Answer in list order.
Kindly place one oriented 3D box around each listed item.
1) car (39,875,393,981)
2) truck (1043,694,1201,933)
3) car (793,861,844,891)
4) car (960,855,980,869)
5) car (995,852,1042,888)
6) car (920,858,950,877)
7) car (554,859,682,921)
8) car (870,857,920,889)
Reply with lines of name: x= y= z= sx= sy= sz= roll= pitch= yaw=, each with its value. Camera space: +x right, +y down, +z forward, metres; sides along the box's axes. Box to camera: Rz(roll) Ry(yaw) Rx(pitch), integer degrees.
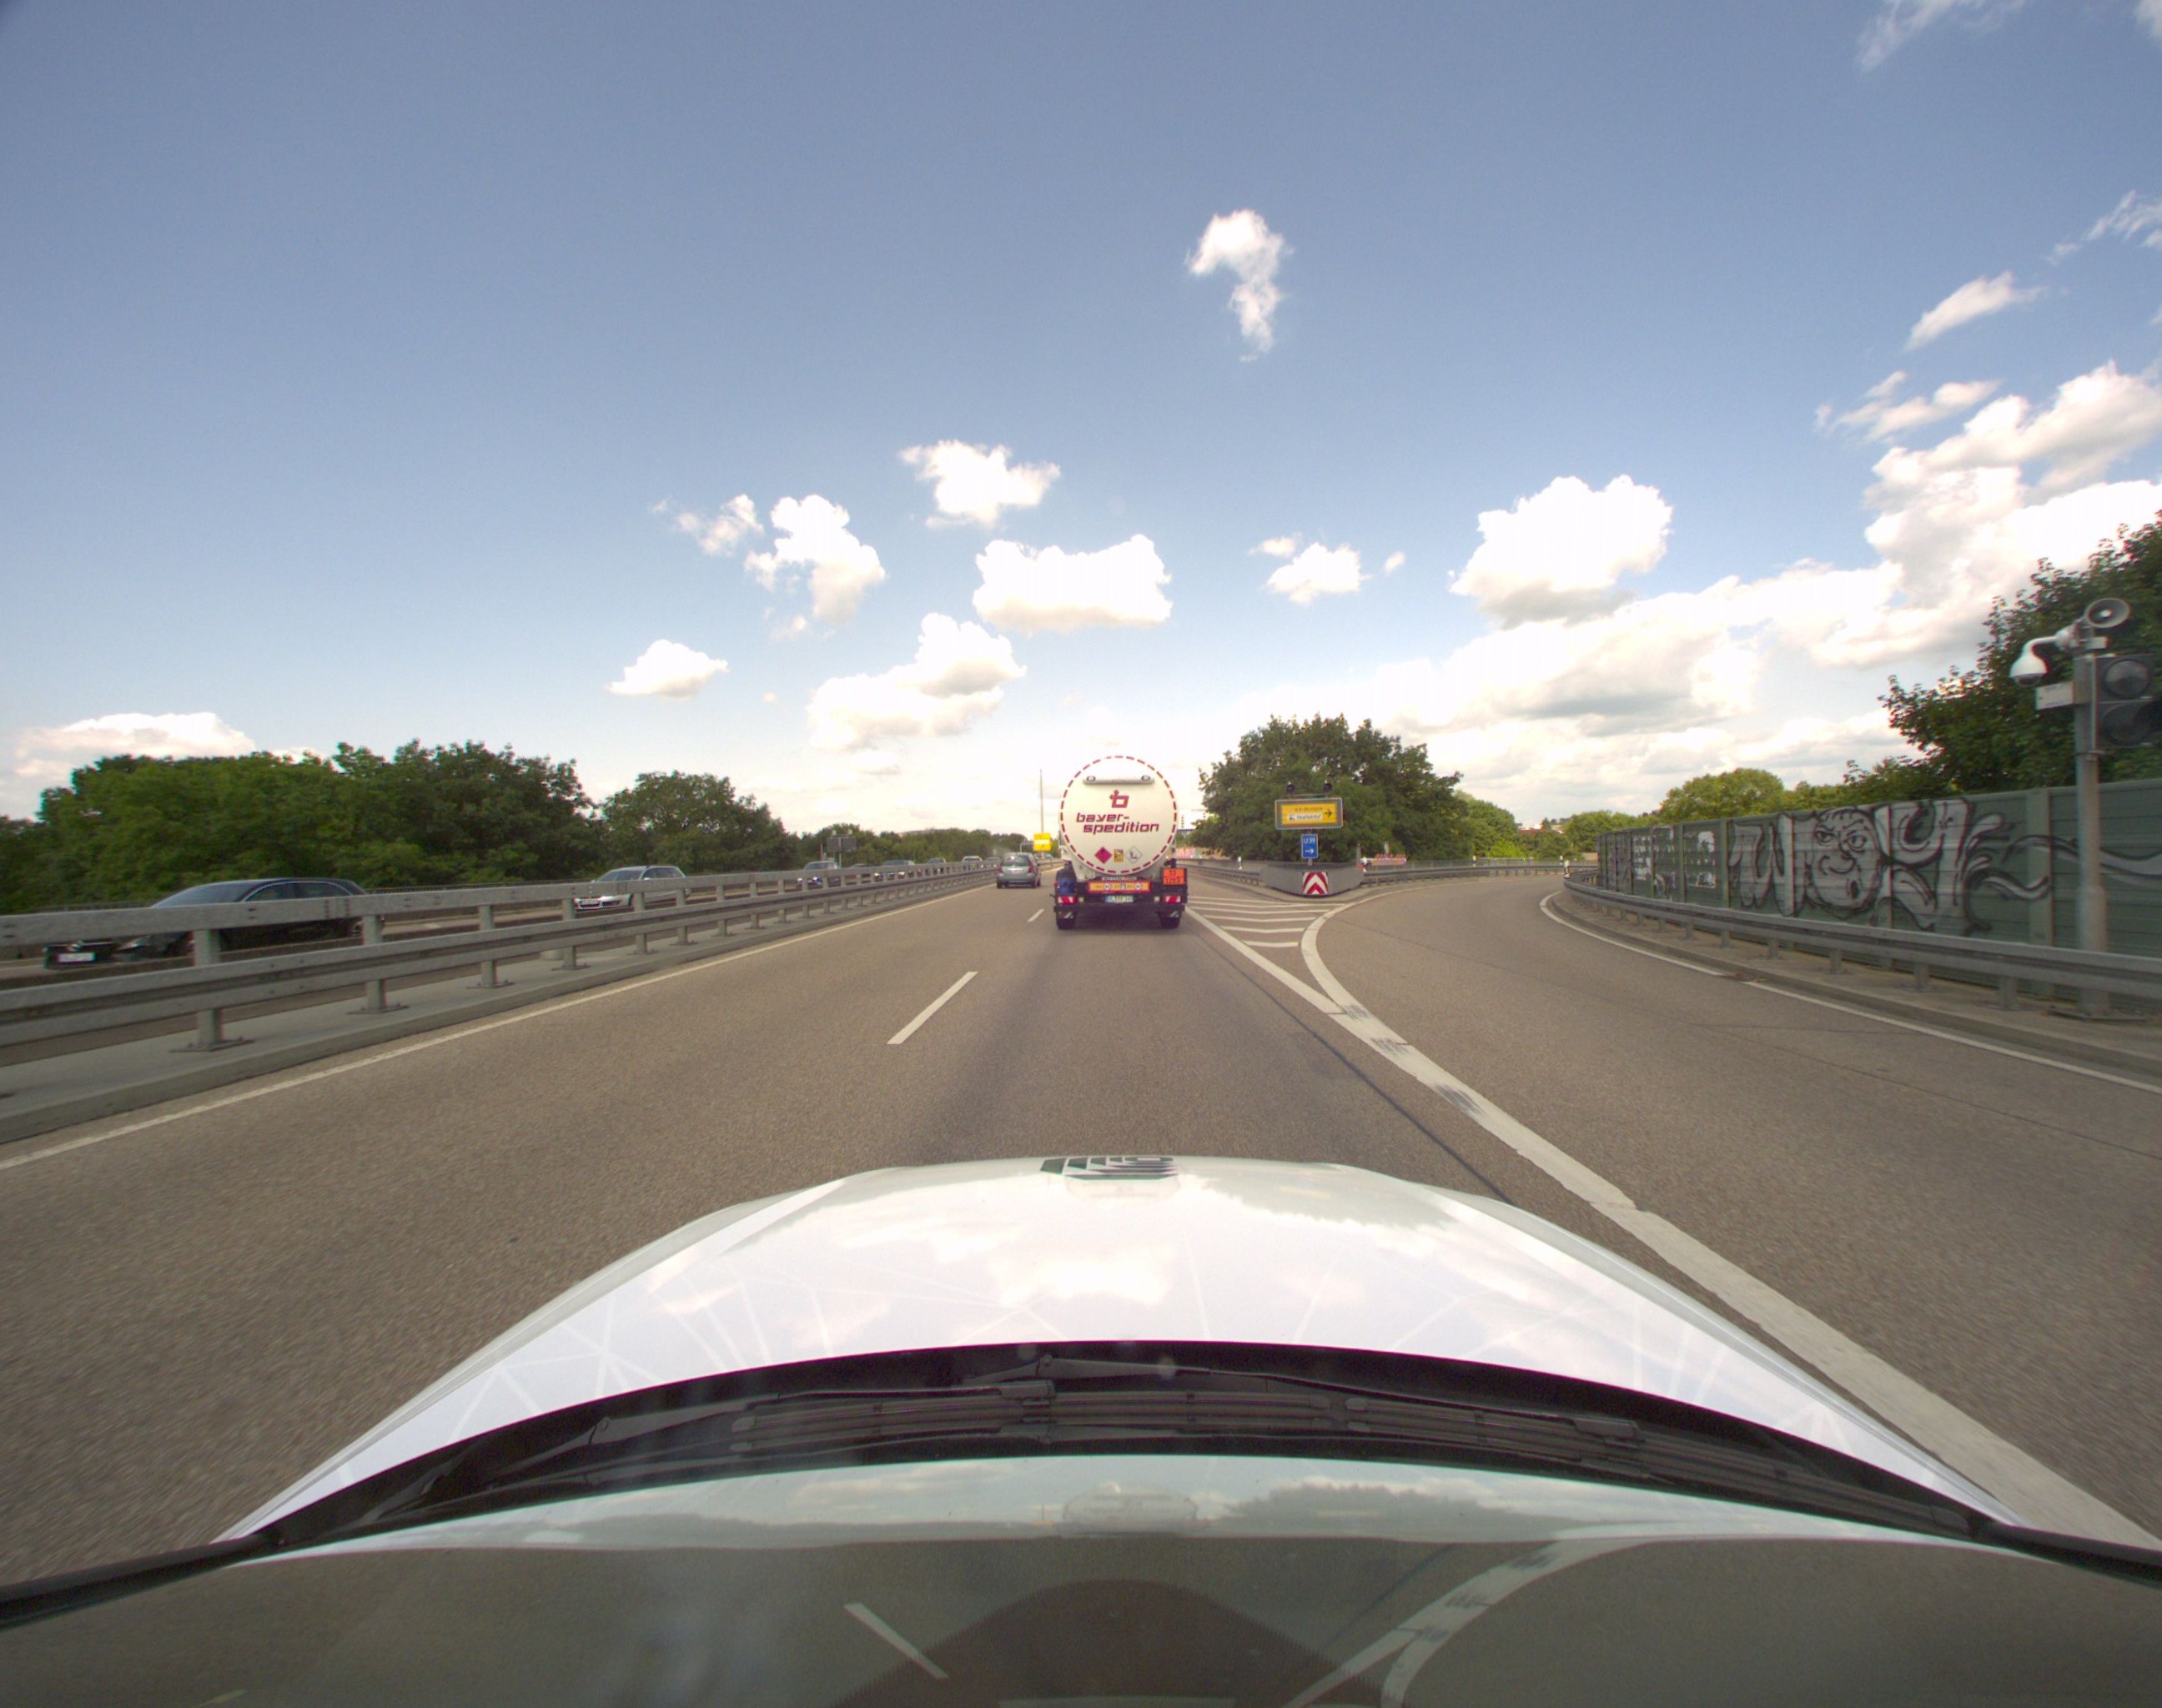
car: x=-14.486 y=1.154 z=14.056 sx=1.779 sy=1.389 sz=4.046 roll=0 pitch=1 yaw=0
truck: x=0.826 y=-0.731 z=18.885 sx=2.885 sy=4.369 sz=8.030 roll=0 pitch=0 yaw=1
car: x=-14.355 y=1.176 z=44.708 sx=1.593 sy=1.474 sz=3.630 roll=-3 pitch=0 yaw=-1
car: x=-13.290 y=0.984 z=97.855 sx=1.885 sy=1.640 sz=4.511 roll=0 pitch=0 yaw=-1
car: x=-2.795 y=0.676 z=37.402 sx=1.741 sy=1.531 sz=4.001 roll=-1 pitch=0 yaw=1
car: x=-13.072 y=1.205 z=73.035 sx=1.815 sy=1.639 sz=4.001 roll=0 pitch=0 yaw=1
car: x=-14.536 y=1.051 z=25.876 sx=1.577 sy=1.711 sz=4.410 roll=0 pitch=1 yaw=0
car: x=-9.642 y=0.960 z=42.510 sx=1.670 sy=1.572 sz=4.060 roll=0 pitch=0 yaw=0
